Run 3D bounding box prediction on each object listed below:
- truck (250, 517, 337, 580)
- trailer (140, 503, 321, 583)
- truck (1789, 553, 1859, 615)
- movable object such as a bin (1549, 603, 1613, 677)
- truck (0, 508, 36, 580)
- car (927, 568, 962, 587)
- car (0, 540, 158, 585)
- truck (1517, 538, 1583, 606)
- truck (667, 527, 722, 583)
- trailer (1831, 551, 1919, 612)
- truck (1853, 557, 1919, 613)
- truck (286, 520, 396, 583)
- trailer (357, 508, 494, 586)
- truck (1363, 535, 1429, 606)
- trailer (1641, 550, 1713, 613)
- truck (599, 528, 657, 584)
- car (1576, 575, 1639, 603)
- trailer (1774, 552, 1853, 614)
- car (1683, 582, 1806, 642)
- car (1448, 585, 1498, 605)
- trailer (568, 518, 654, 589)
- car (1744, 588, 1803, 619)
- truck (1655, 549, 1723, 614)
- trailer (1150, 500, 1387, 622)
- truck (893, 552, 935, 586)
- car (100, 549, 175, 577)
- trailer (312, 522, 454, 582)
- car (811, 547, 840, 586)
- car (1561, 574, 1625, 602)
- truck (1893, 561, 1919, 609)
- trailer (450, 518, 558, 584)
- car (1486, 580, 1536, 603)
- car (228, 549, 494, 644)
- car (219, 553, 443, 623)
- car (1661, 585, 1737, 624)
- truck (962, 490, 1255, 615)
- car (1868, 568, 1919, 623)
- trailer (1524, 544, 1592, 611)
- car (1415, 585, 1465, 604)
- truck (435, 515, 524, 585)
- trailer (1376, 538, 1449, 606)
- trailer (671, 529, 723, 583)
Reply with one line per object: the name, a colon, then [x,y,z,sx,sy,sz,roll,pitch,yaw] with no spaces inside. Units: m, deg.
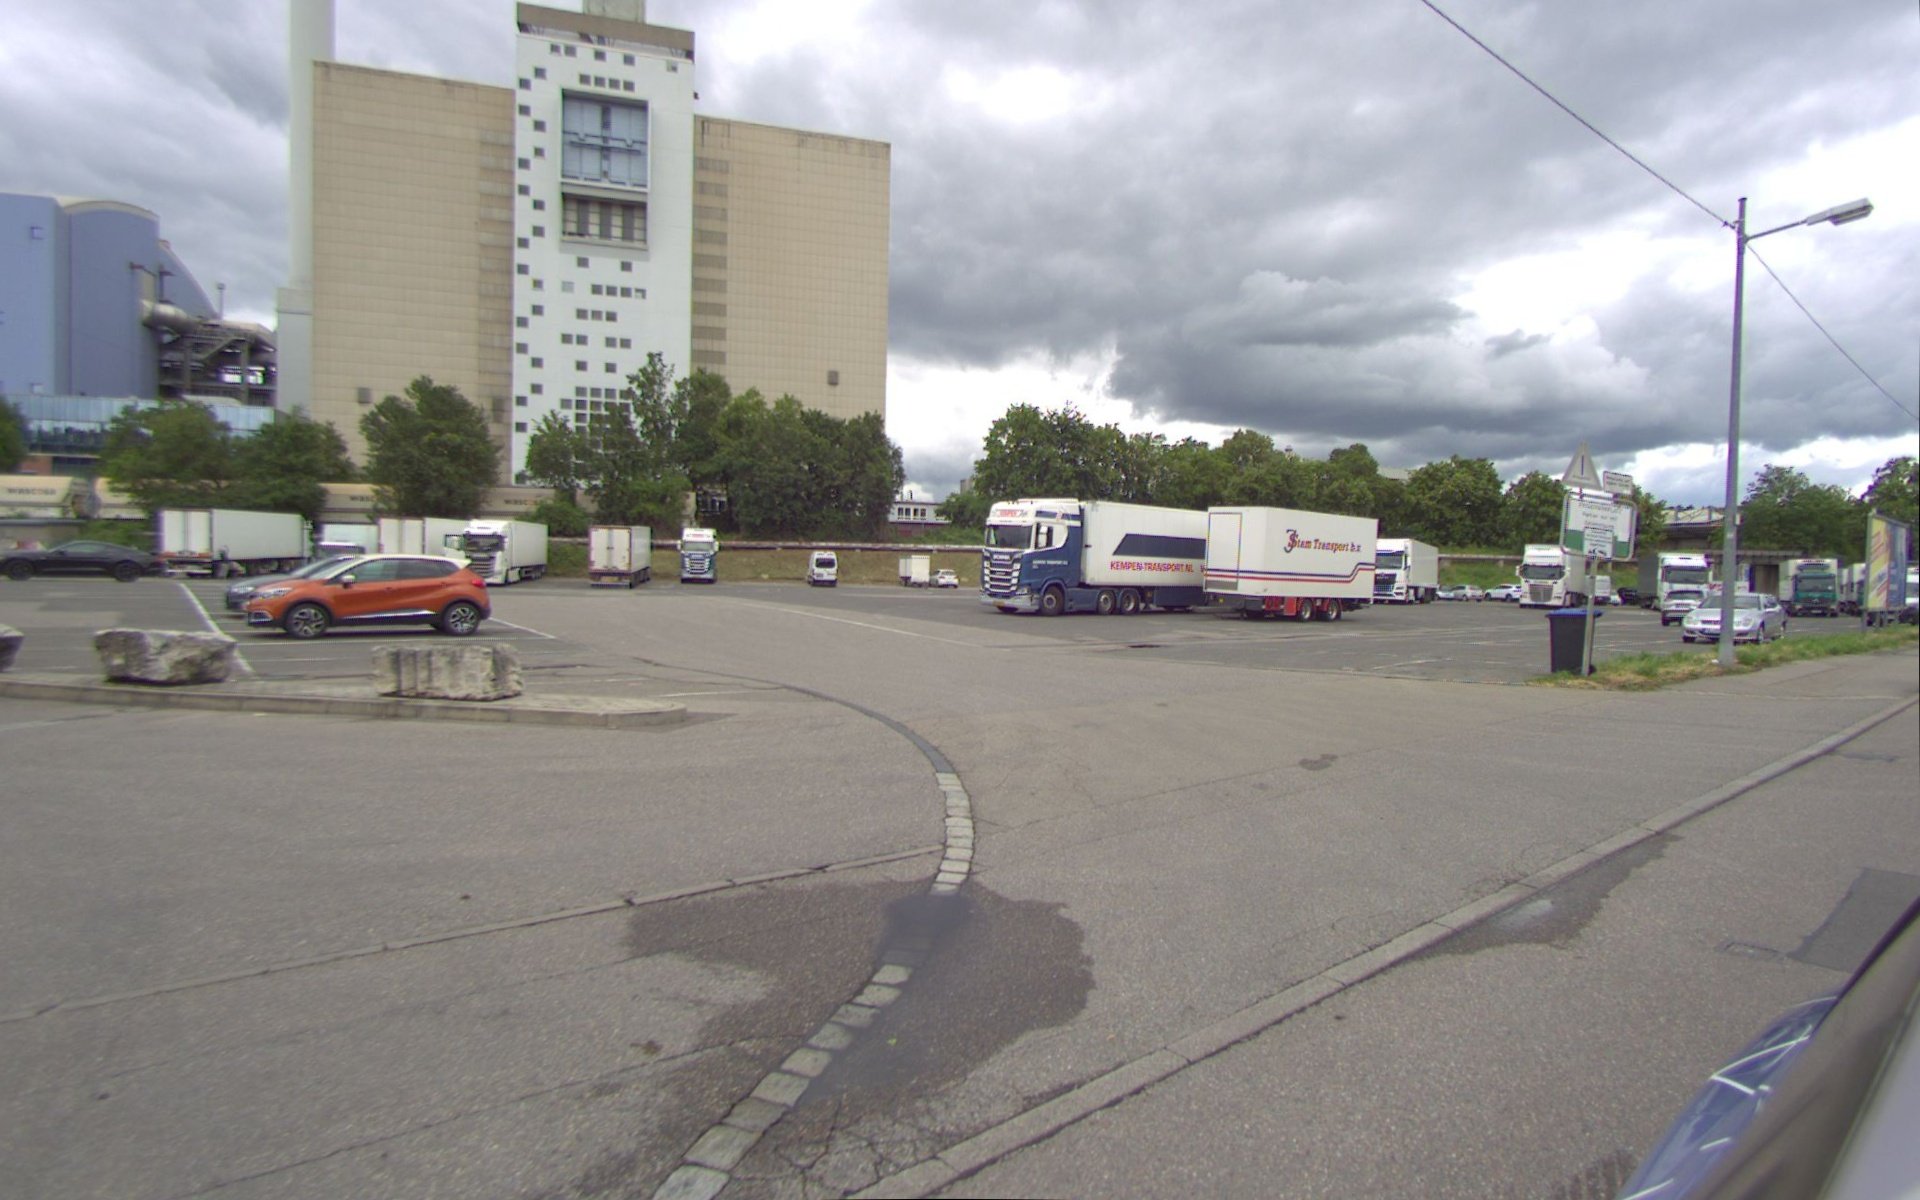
truck: [-49.631,-3.774,75.614,3.474,4.487,6.669,0,1,-15]
trailer: [-47.185,-3.490,66.639,3.484,4.556,18.332,0,2,-15]
truck: [59.824,-1.132,70.225,2.856,4.063,6.673,3,2,35]
movable object such as a bin: [9.688,0.609,15.799,0.714,1.095,0.652,2,1,44]
truck: [-58.491,-3.269,57.957,2.812,4.344,12.005,0,2,-14]
car: [-1.328,-1.846,82.376,1.958,1.371,4.158,1,2,-14]
car: [-29.710,-1.224,33.739,4.602,1.386,1.987,0,2,-41]
truck: [38.169,-1.801,65.372,2.858,4.145,6.670,3,2,36]
truck: [-20.235,-3.371,77.487,3.634,4.013,7.272,1,1,-12]
trailer: [68.349,-1.370,75.858,2.821,4.145,13.235,3,2,34]
truck: [64.830,-1.063,70.617,2.856,3.674,6.673,3,2,35]
truck: [-38.299,-2.965,62.944,3.634,3.601,7.272,1,1,-12]
trailer: [-35.548,-3.345,68.534,3.484,4.556,18.330,0,2,-12]
truck: [27.226,-1.824,62.994,2.597,4.145,6.678,3,2,33]
trailer: [52.877,-1.395,74.921,2.816,4.145,13.257,3,2,29]
truck: [-26.248,-3.450,80.406,3.634,4.224,7.272,1,1,-12]
car: [61.148,-1.087,95.688,2.322,2.479,4.929,1,1,-8]
trailer: [63.192,-1.261,75.254,2.821,4.145,13.235,3,2,34]
car: [21.703,0.285,27.938,4.479,1.482,1.777,0,2,-40]
car: [46.586,-0.482,92.053,1.958,1.628,4.008,1,2,-10]
trailer: [-24.172,-3.147,71.272,3.566,4.224,18.542,1,2,-12]
car: [41.818,0.141,52.009,3.979,1.513,1.497,0,2,-39]
truck: [49.350,-1.269,68.674,2.851,4.145,6.686,3,2,30]
trailer: [11.728,-1.387,37.753,10.213,4.015,2.967,0,3,-38]
truck: [-3.820,-2.585,82.675,2.233,2.521,5.974,2,3,-14]
car: [-50.046,-2.251,61.715,1.948,1.620,4.700,1,2,-17]
trailer: [-40.336,-3.267,71.877,3.566,3.590,18.542,1,2,-13]
car: [-10.508,-2.596,78.835,2.065,2.871,5.096,1,2,-9]
car: [58.867,-1.114,94.205,2.322,2.479,4.929,1,1,-8]
truck: [77.214,-1.184,80.360,2.809,3.757,9.002,2,2,32]
trailer: [-32.599,-3.410,73.531,3.566,4.140,18.542,1,2,-13]
car: [50.981,-0.807,93.730,1.958,1.896,4.008,1,2,-10]
car: [-11.358,-0.104,19.325,4.142,1.590,1.769,0,3,-41]
car: [-14.326,-0.297,23.171,4.142,1.407,1.769,0,4,-41]
car: [31.624,0.196,43.278,3.930,1.591,1.768,0,0,-41]
truck: [6.018,-1.662,38.085,12.838,4.015,3.082,0,4,-40]
car: [45.063,-0.230,47.943,5.973,2.445,2.091,0,2,-39]
trailer: [41.693,-1.553,70.300,2.823,4.145,13.225,3,2,35]
car: [44.069,-0.524,93.030,1.958,1.628,4.229,1,2,-10]
truck: [-30.488,-3.119,64.560,3.633,4.171,7.273,1,1,-14]
trailer: [30.990,-1.869,68.943,2.597,4.145,12.300,3,2,32]
trailer: [-22.200,-3.650,86.413,3.566,4.007,18.542,1,2,-12]
